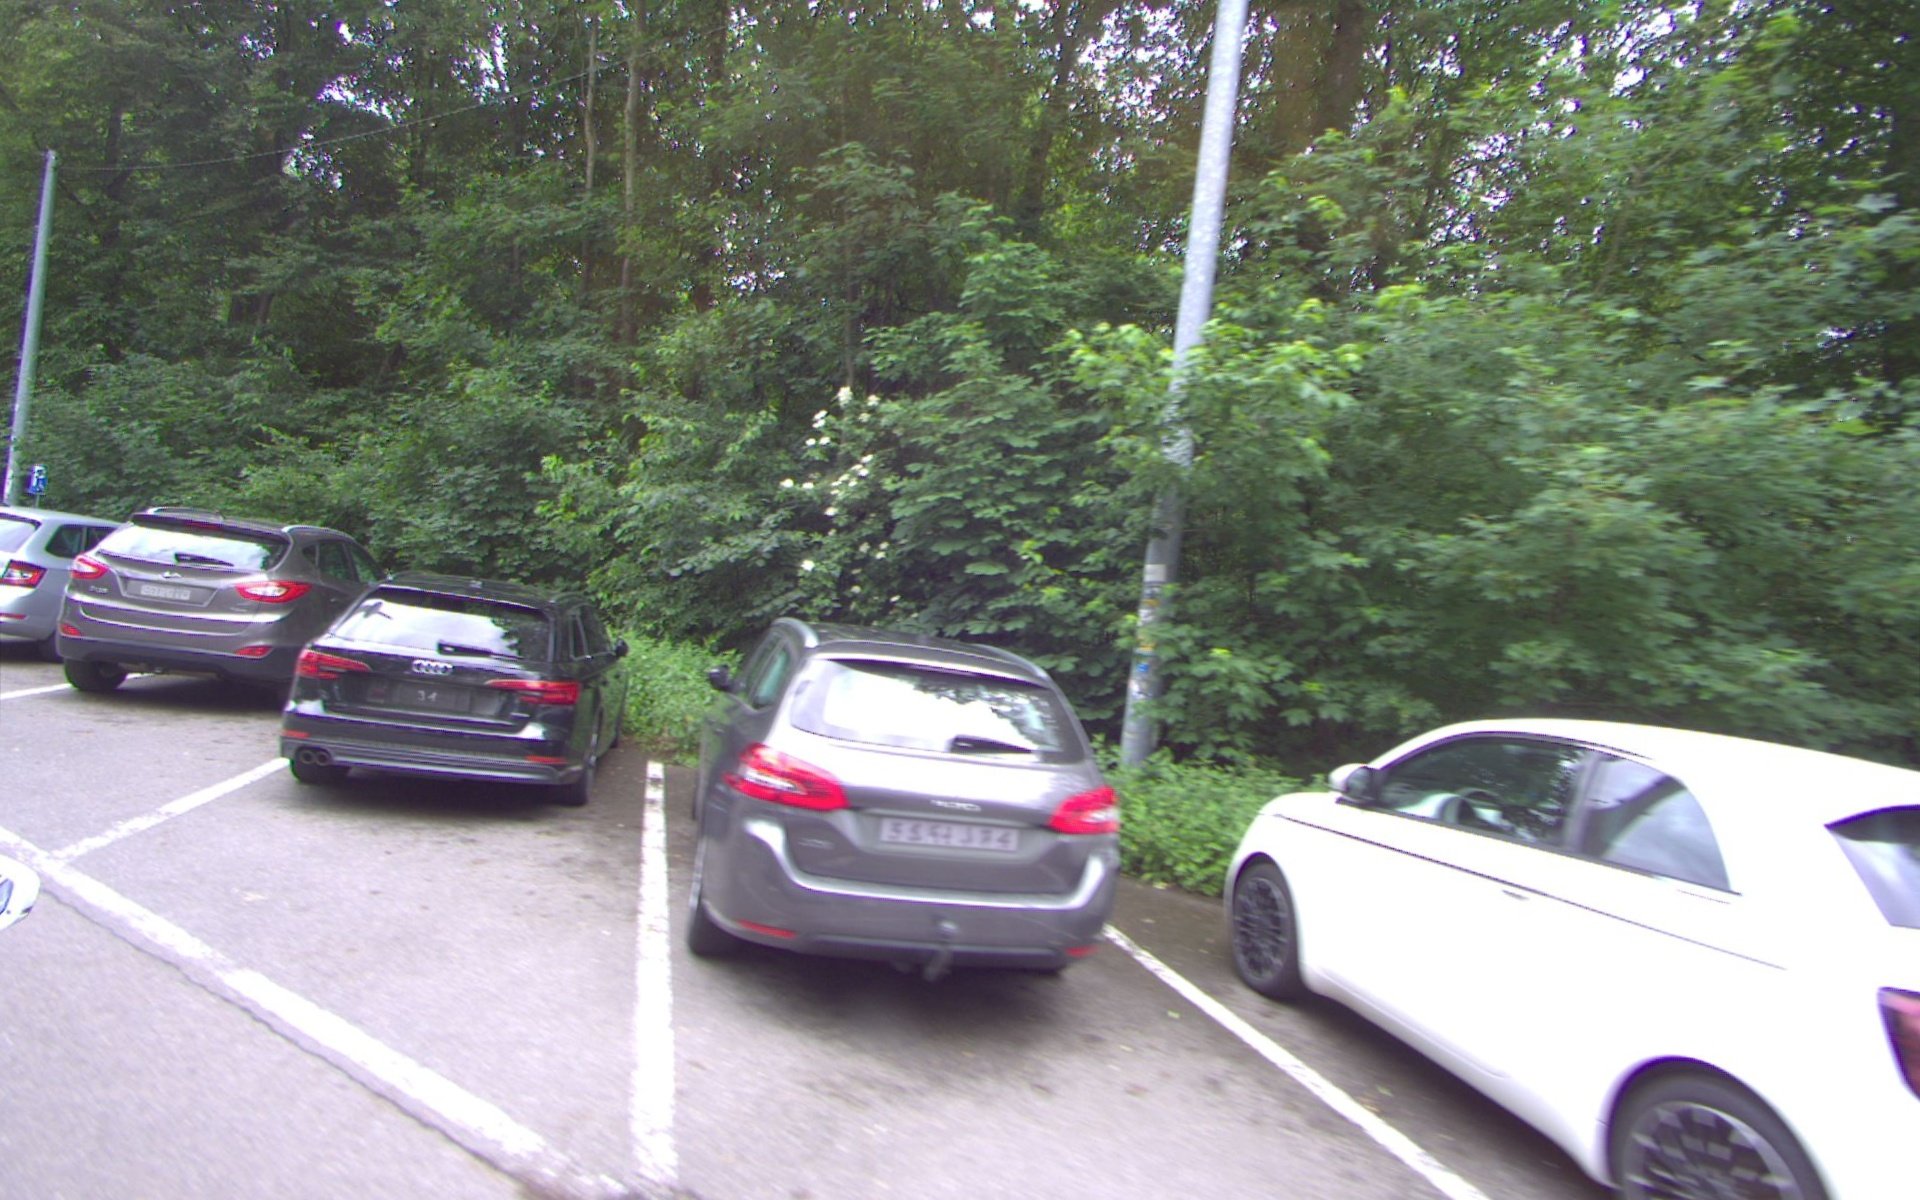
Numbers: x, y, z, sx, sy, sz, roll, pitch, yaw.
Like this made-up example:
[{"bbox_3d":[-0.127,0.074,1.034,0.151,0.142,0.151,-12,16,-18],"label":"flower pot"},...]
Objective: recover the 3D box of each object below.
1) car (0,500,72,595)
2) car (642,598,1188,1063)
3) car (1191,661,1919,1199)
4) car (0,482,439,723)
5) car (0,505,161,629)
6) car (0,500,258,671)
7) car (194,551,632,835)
[{"bbox_3d":[-15.748,-0.947,14.989,1.870,1.479,4.195,8,-2,-14],"label":"car"},{"bbox_3d":[-0.597,0.851,5.541,1.777,1.474,4.176,8,-1,-14],"label":"car"},{"bbox_3d":[2.570,1.212,3.985,1.707,1.522,3.575,8,-1,-12],"label":"car"},{"bbox_3d":[-6.922,0.039,10.055,1.935,1.655,4.252,8,-1,-14],"label":"car"},{"bbox_3d":[-12.506,-0.509,12.937,1.881,1.439,3.989,8,-2,-15],"label":"car"},{"bbox_3d":[-9.744,-0.231,10.916,1.805,1.484,3.993,8,-1,-10],"label":"car"},{"bbox_3d":[-3.678,0.540,7.698,1.936,1.393,4.249,8,-1,-16],"label":"car"}]
